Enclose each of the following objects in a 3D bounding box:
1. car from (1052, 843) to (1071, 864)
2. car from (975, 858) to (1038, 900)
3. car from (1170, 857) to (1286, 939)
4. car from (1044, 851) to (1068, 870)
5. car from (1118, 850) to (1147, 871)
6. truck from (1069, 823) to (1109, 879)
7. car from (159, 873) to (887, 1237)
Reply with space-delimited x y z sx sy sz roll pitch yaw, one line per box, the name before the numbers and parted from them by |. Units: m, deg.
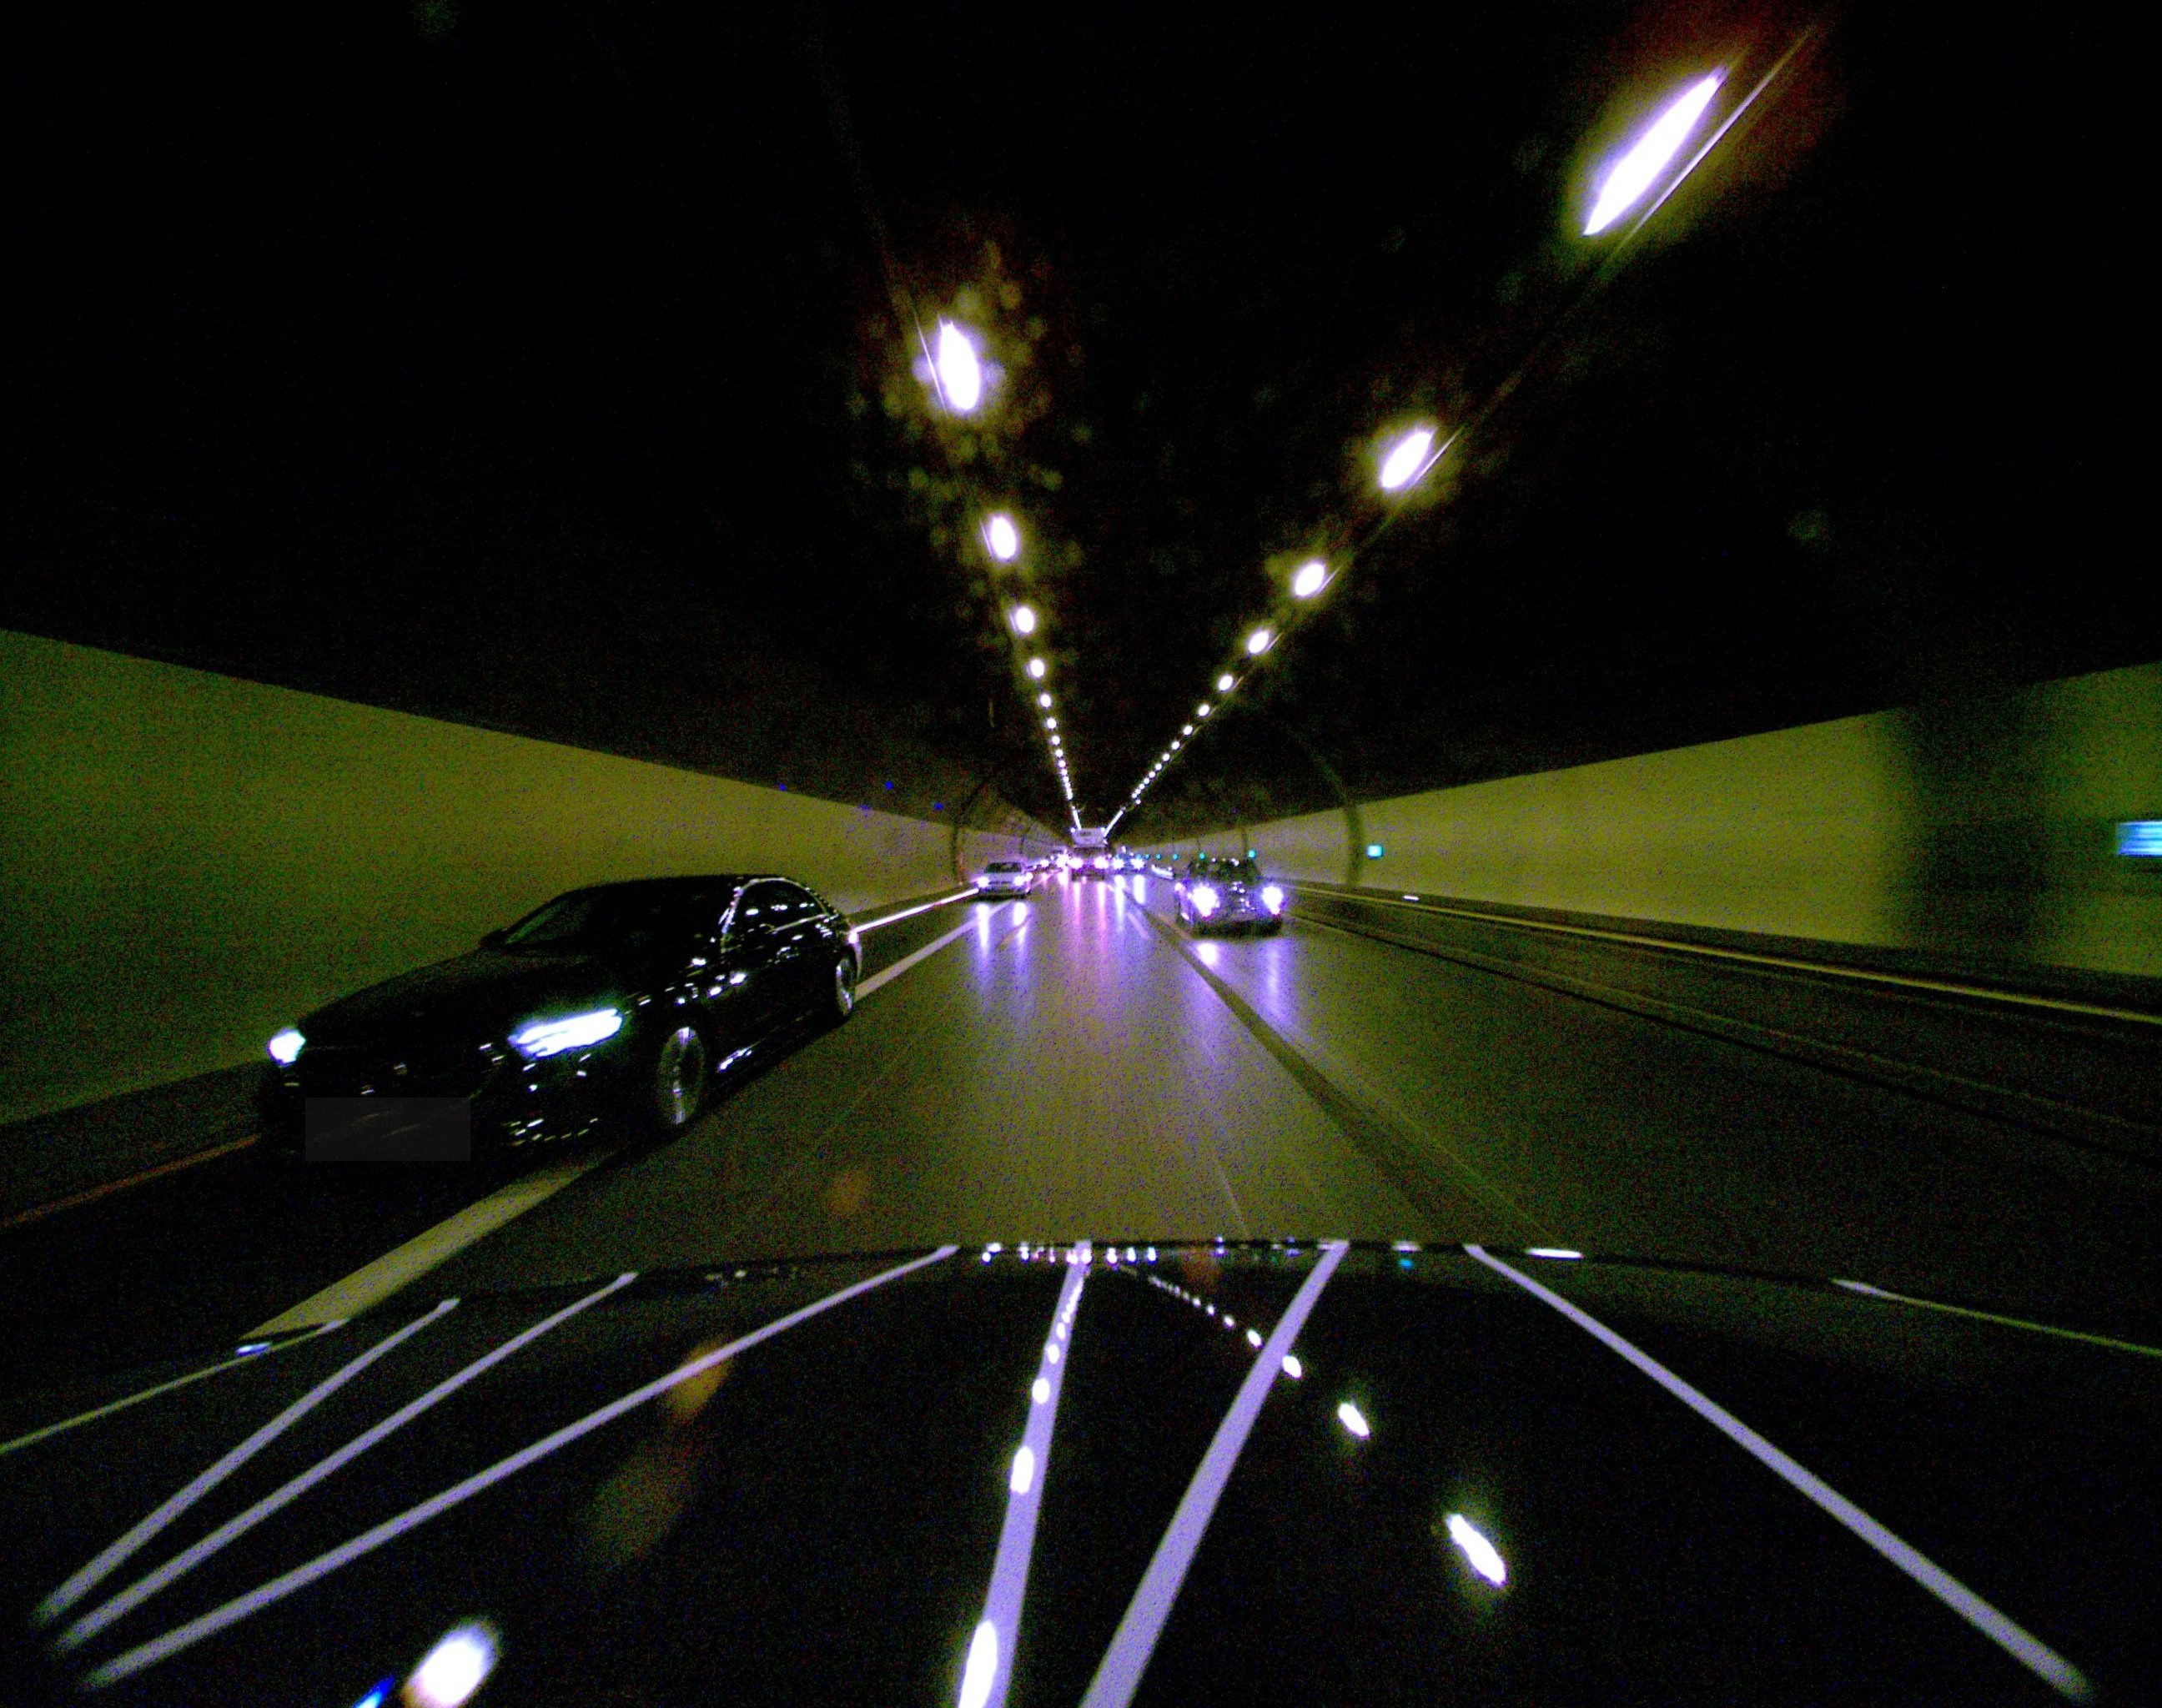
car | -2.388 -0.113 95.494 2.124 2.629 6.229 0 1 1
car | -2.766 0.911 29.004 1.801 1.452 4.035 0 0 3
car | 2.845 0.787 15.383 1.657 1.395 3.656 -1 0 1
car | -2.168 0.545 67.770 1.958 1.528 4.757 0 1 0
car | 4.012 0.487 60.149 1.958 1.528 4.757 -2 1 0
truck | 0.501 -0.199 48.124 2.262 3.238 7.382 1 0 1
car | -3.159 0.971 5.913 1.930 1.464 4.954 0 1 1
